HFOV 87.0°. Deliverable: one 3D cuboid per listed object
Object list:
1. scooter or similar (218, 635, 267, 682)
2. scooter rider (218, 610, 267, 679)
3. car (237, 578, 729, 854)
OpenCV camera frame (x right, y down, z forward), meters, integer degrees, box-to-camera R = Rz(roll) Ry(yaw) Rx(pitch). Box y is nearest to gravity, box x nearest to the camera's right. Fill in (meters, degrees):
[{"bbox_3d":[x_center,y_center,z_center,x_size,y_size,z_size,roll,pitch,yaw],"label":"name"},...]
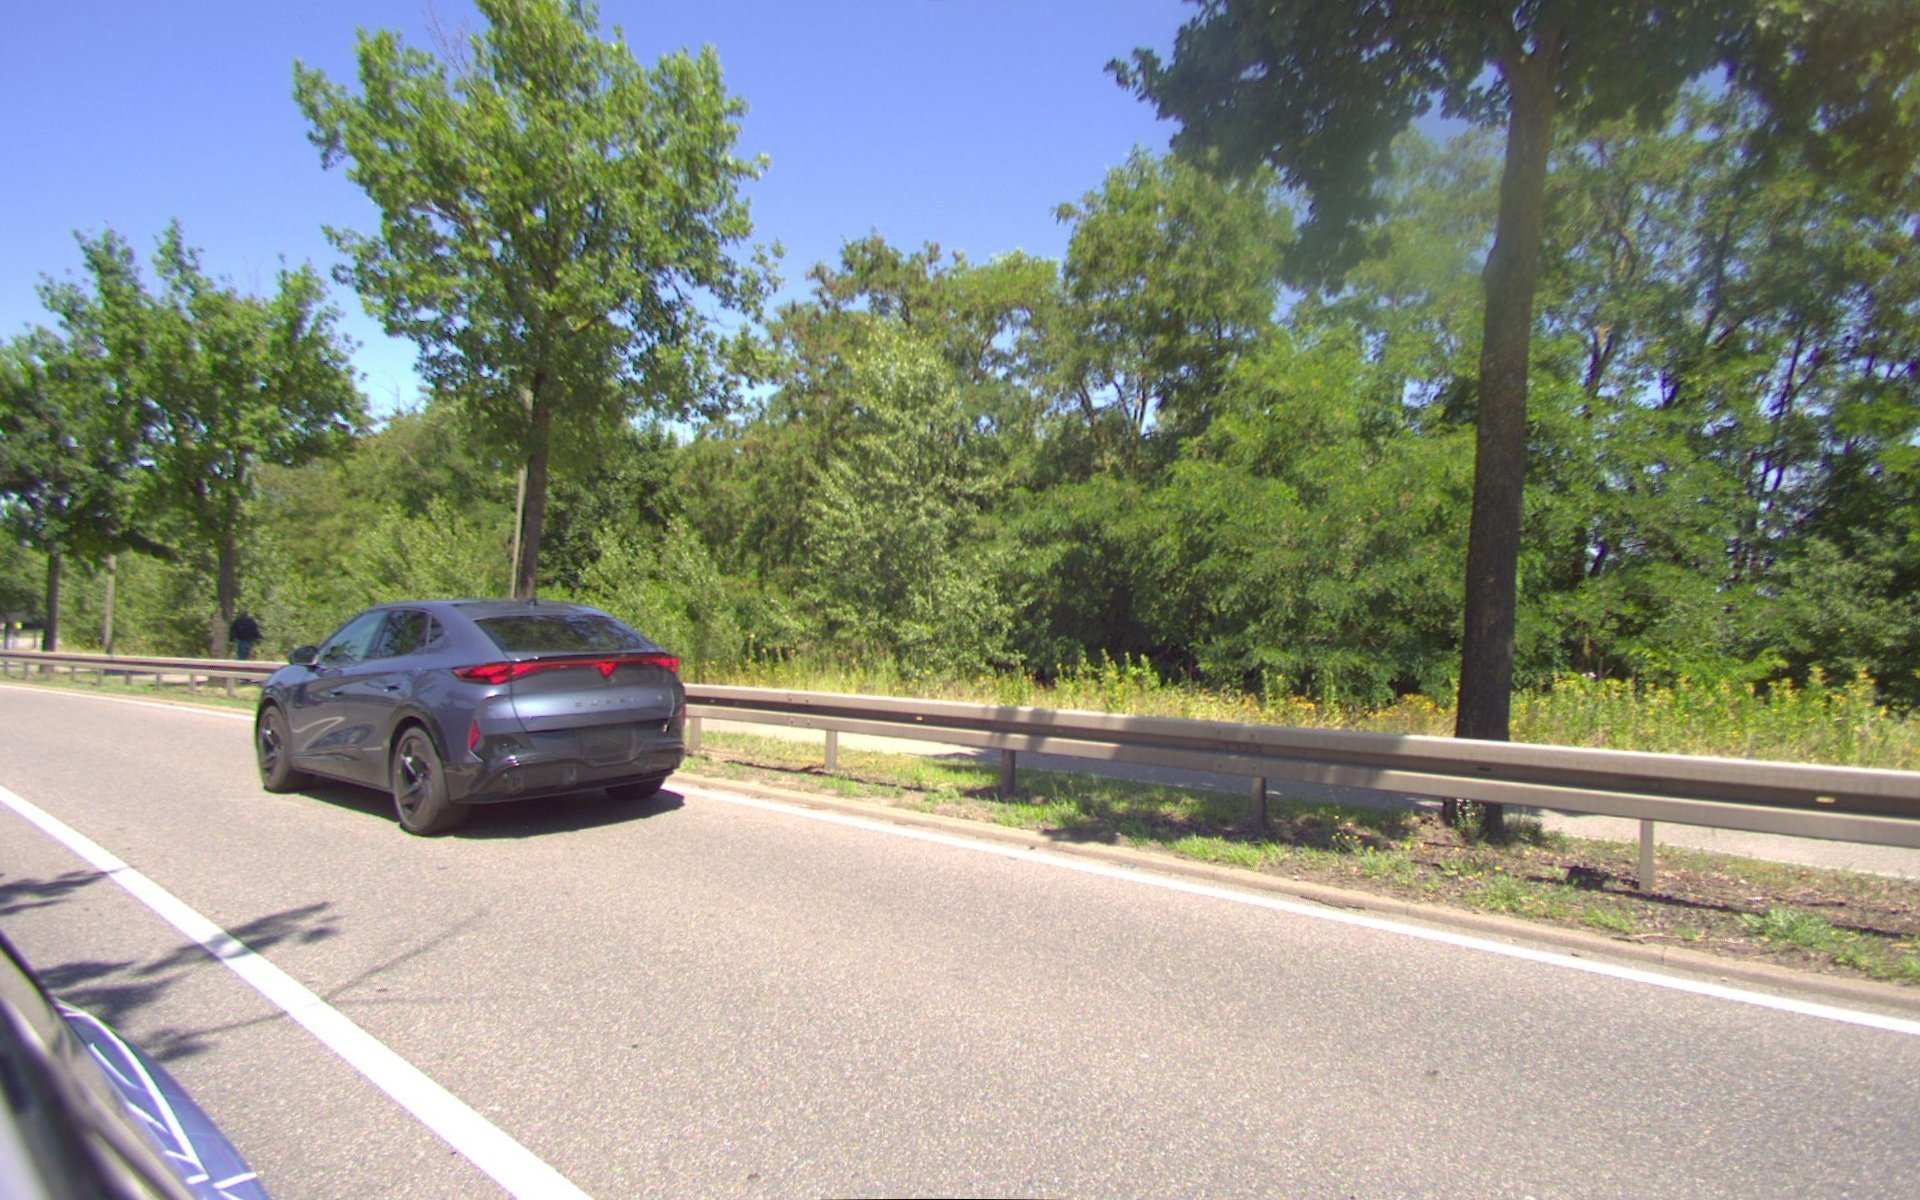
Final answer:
[{"bbox_3d":[-17.958,1.447,25.313,1.094,1.099,0.769,-1,-1,41],"label":"scooter or similar"},{"bbox_3d":[-17.966,1.089,25.330,1.120,1.670,0.769,-1,-1,42],"label":"scooter rider"},{"bbox_3d":[-3.963,0.734,8.056,4.388,1.616,1.850,-2,-1,39],"label":"car"}]
